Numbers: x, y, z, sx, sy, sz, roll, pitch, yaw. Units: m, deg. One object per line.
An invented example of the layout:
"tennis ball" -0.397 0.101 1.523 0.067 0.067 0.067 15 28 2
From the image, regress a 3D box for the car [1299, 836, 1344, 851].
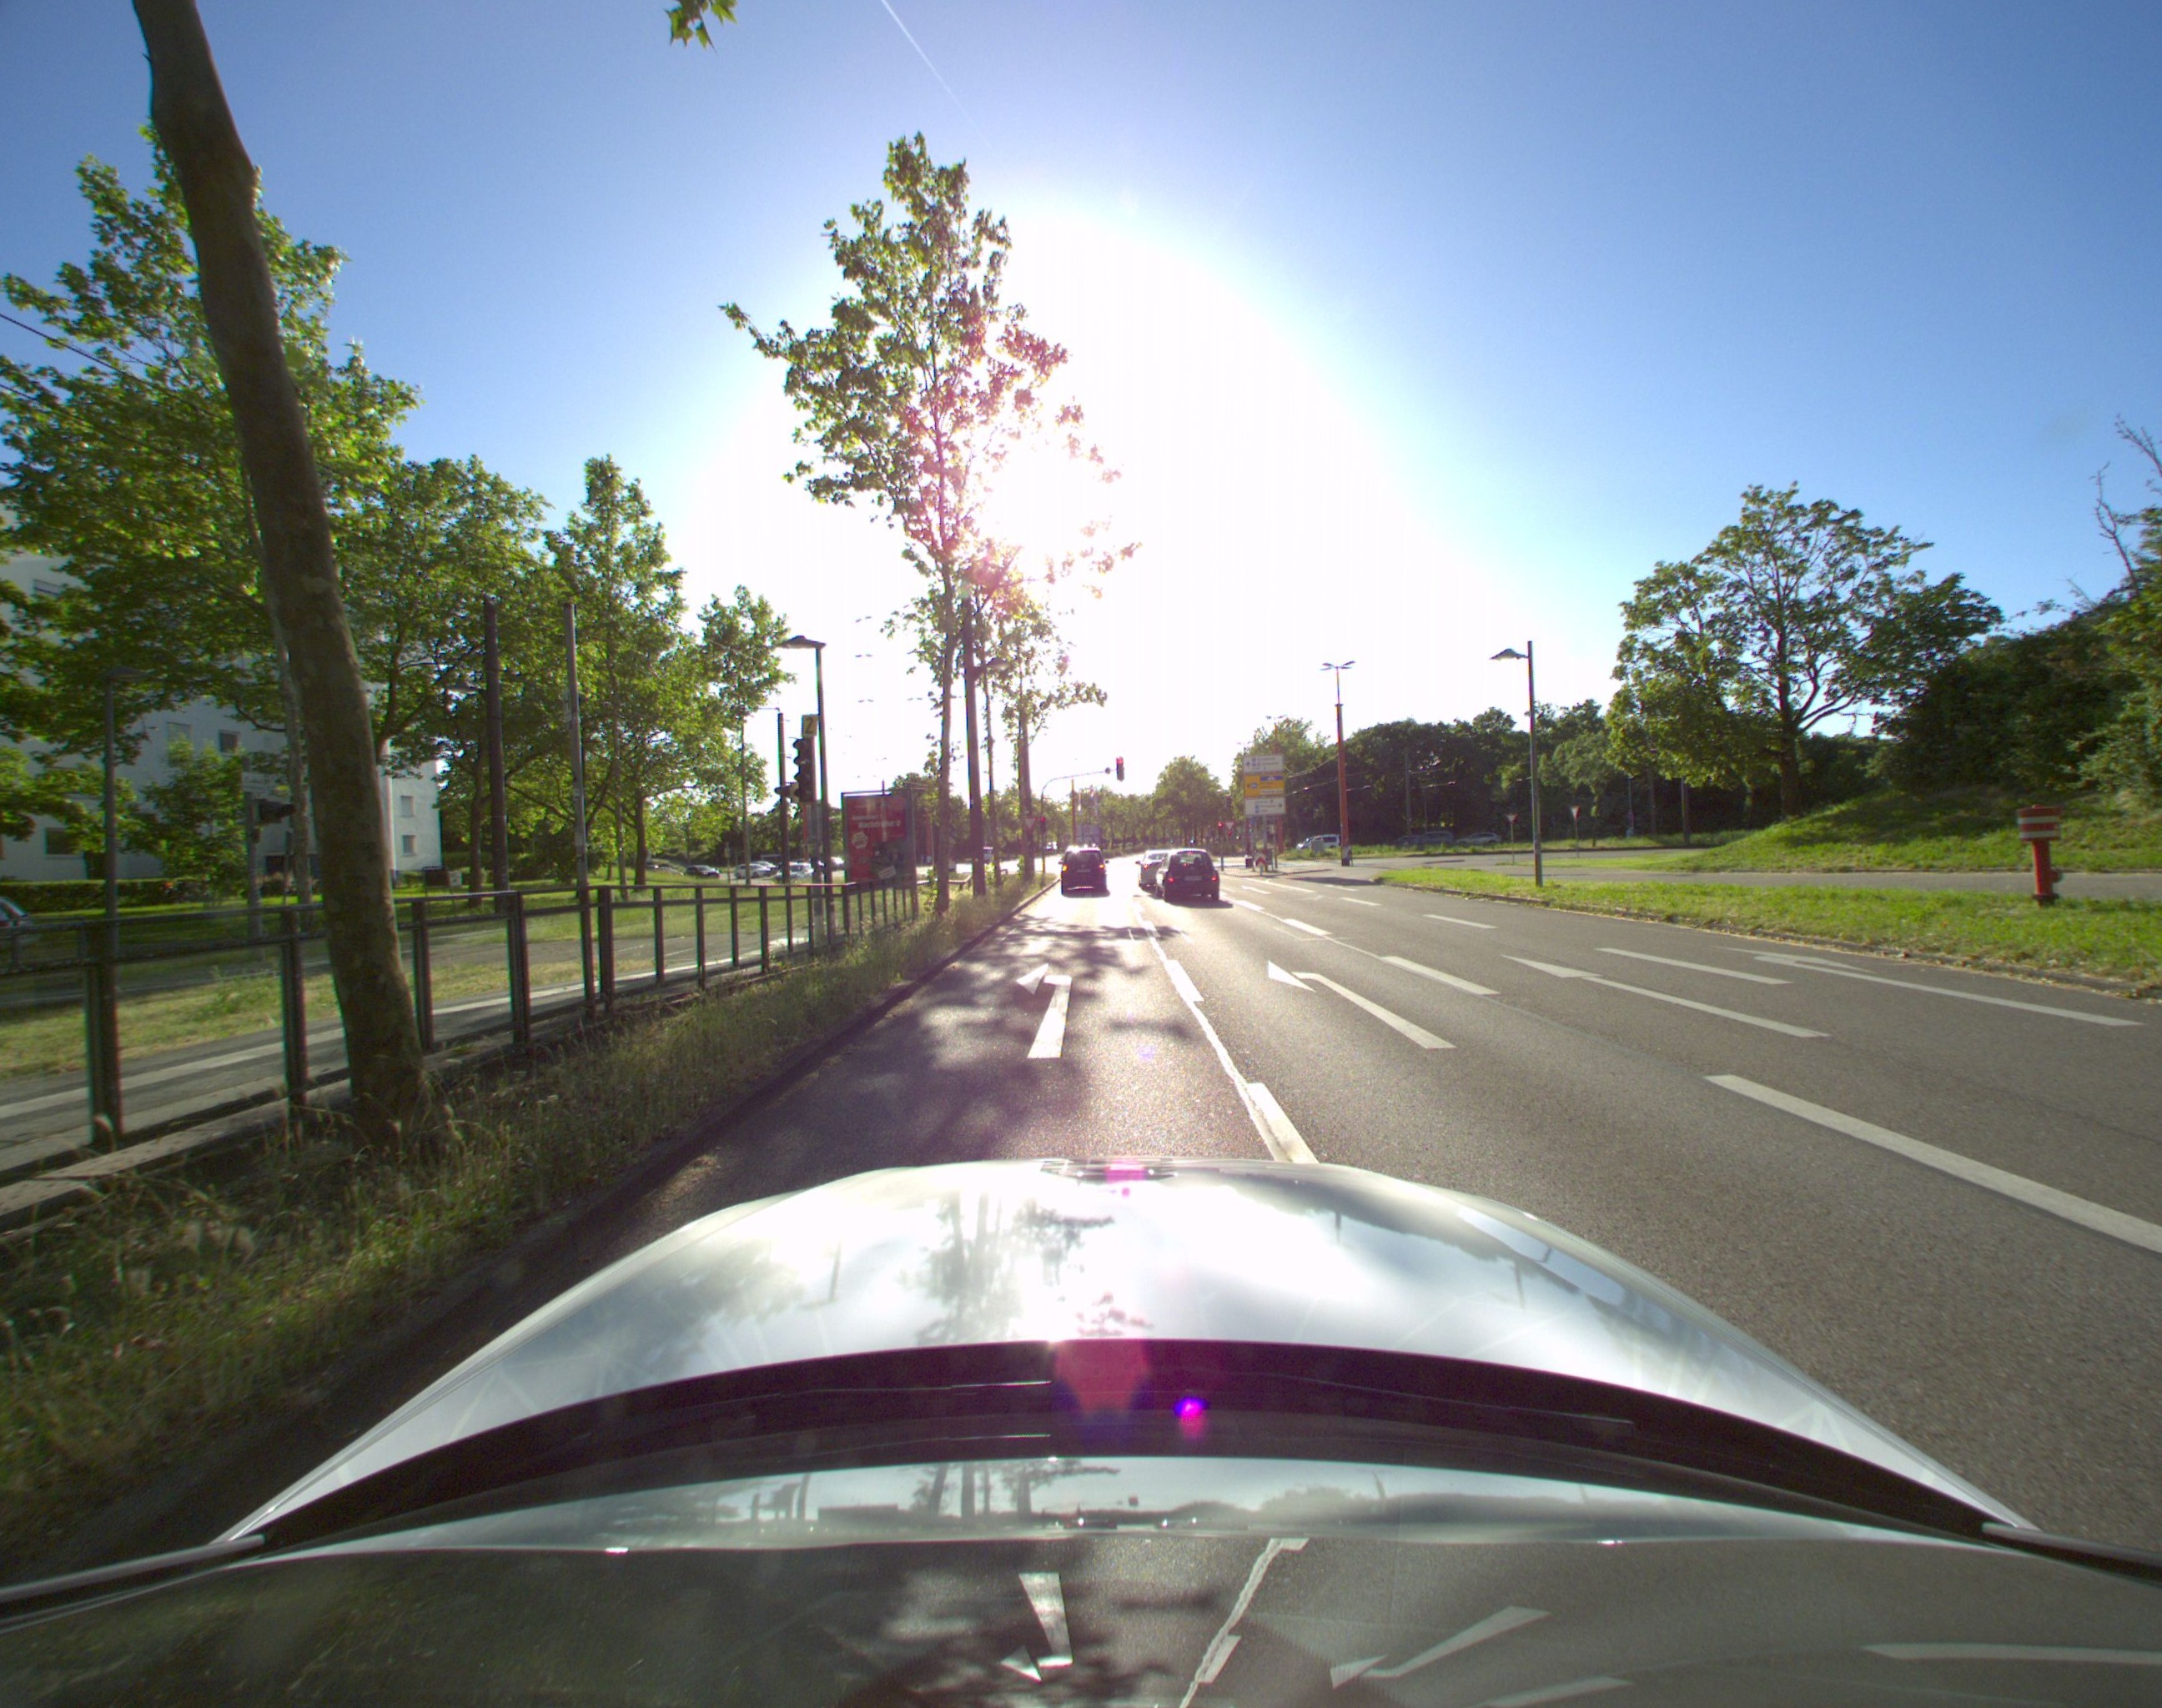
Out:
"car" 23.765 -1.045 80.511 3.950 1.338 1.739 -1 0 27

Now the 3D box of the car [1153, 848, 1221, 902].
"car" 3.187 0.582 25.097 1.633 1.494 3.503 -1 1 0

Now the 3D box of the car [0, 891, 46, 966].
"car" -23.905 1.587 16.151 3.942 1.476 1.612 -1 0 -42

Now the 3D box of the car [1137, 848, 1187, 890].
"car" 3.086 0.555 31.737 1.672 1.475 4.132 -1 0 2

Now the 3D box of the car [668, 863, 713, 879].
"car" -39.805 1.706 82.966 4.442 1.543 1.912 -1 0 29

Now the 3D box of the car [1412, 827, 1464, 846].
"car" 33.144 -1.617 75.636 4.311 1.559 1.883 -1 0 25

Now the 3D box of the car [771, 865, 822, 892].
"car" -16.829 1.402 48.285 1.626 1.449 3.719 -1 0 1

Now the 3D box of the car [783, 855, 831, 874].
"car" -28.910 1.127 85.908 4.448 1.610 1.910 -3 2 19

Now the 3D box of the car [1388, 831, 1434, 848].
"car" 32.227 -1.392 79.489 3.950 1.561 1.911 -1 0 27

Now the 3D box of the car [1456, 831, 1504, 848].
"car" 37.600 -1.359 76.757 3.950 1.495 1.872 -1 0 27

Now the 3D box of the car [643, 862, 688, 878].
"car" -47.239 1.801 92.605 4.448 1.610 1.910 -2 3 19

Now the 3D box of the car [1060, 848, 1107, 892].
"car" 0.106 0.579 31.168 1.705 1.603 3.349 0 0 0

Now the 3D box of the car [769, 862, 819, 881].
"car" -29.144 1.813 82.630 4.448 1.610 1.910 -3 2 19

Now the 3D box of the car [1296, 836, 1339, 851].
"car" 24.335 -1.094 83.865 3.950 1.476 1.800 -1 0 26

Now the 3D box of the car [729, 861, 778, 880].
"car" -34.268 1.719 85.256 4.448 1.610 1.910 -3 2 19

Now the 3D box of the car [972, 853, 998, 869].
"car" -11.007 0.807 93.670 1.812 1.780 4.580 -1 0 10

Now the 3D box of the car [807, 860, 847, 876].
"car" -28.890 1.566 92.627 3.954 1.620 1.910 -1 2 19
